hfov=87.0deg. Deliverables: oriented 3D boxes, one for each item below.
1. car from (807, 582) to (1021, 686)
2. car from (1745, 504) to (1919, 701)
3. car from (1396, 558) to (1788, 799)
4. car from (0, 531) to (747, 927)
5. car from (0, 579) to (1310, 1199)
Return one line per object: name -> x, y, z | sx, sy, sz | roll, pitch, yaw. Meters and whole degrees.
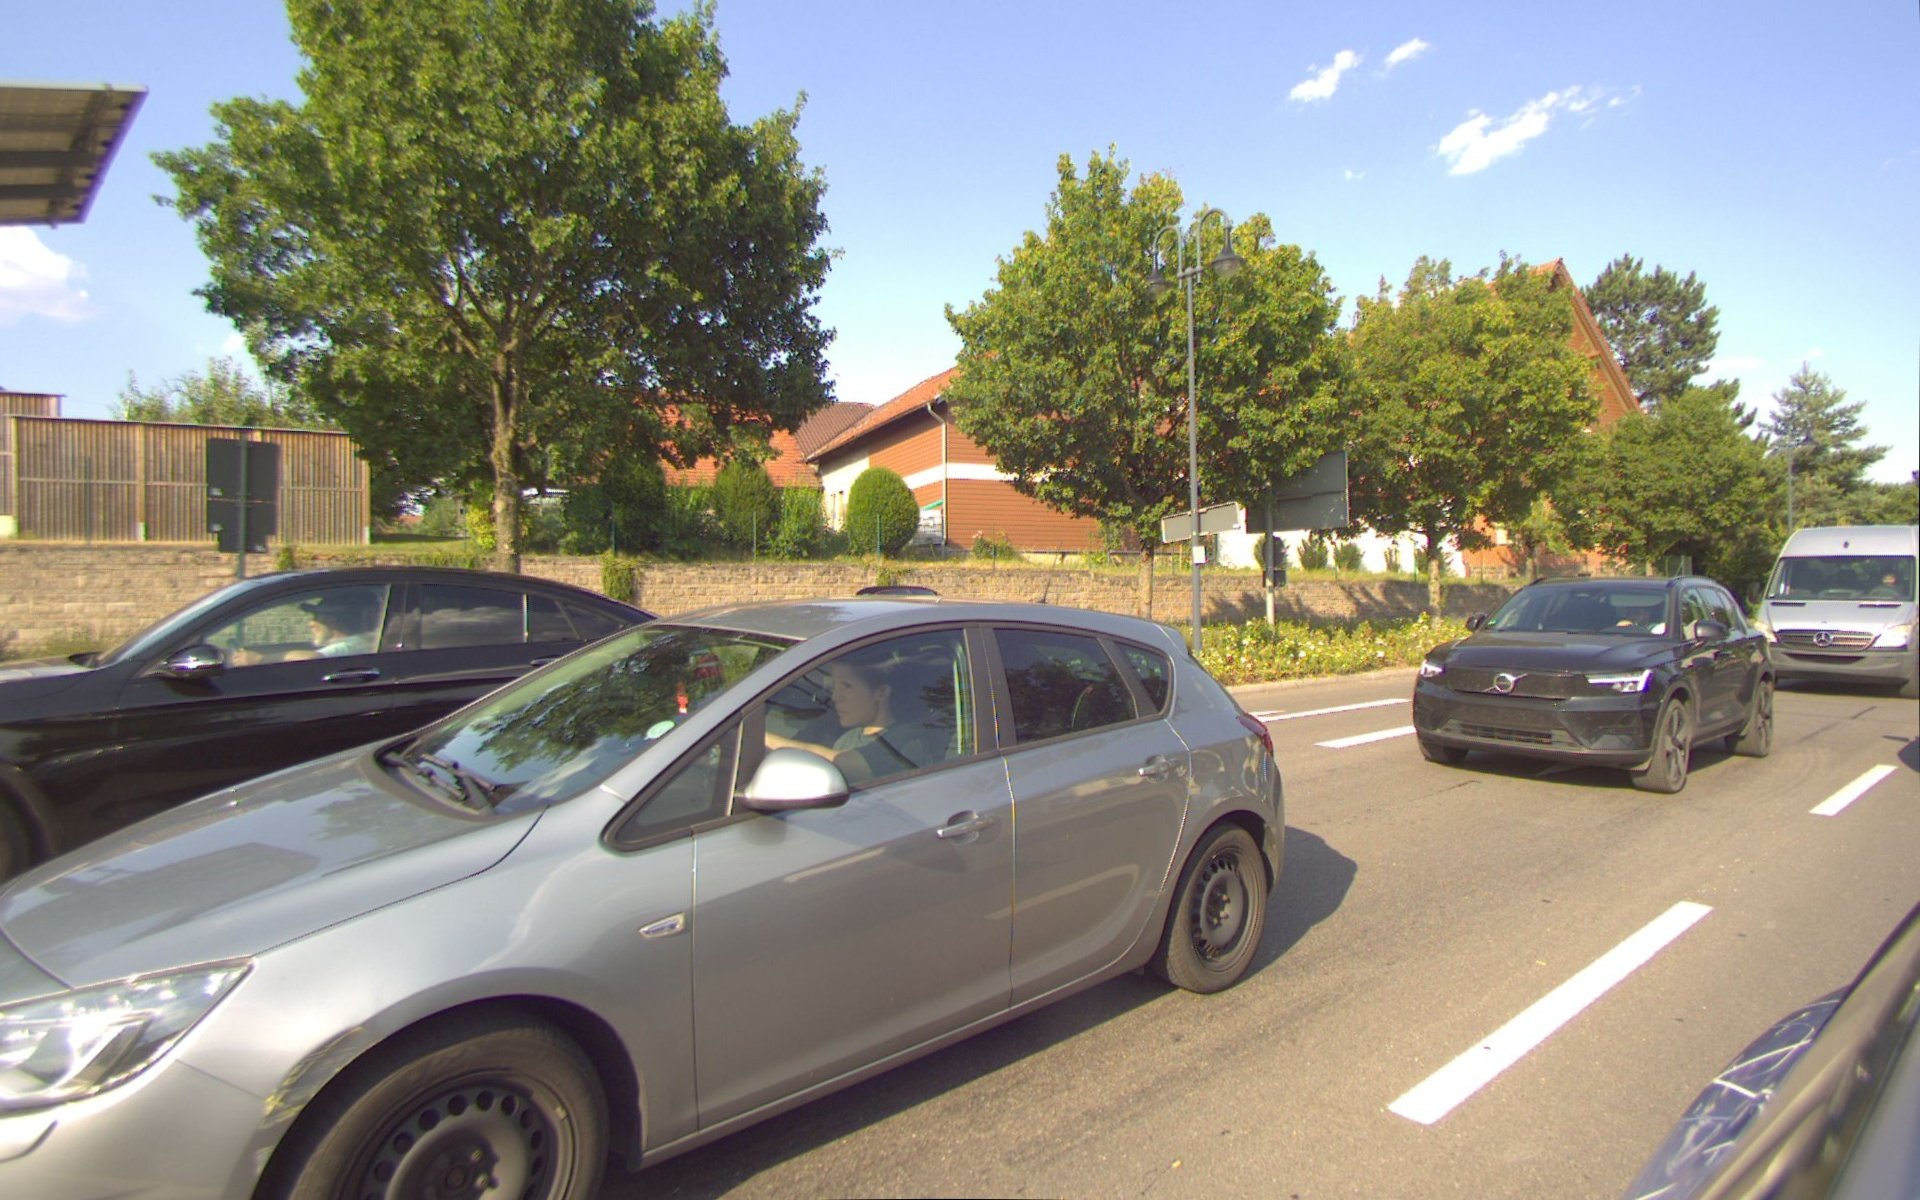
car -> -0.876, 0.459, 16.327 | 1.714, 1.449, 4.002 | 0, 0, -32
car -> 15.063, 0.001, 16.699 | 6.532, 2.692, 2.038 | -1, 0, -40
car -> 5.628, 0.506, 8.823 | 3.985, 1.625, 1.791 | 0, 1, -40
car -> -3.575, 0.503, 5.555 | 4.418, 1.586, 1.842 | -1, 0, -42
car -> -0.656, 0.673, 3.334 | 4.072, 1.440, 1.650 | -1, 2, -42
